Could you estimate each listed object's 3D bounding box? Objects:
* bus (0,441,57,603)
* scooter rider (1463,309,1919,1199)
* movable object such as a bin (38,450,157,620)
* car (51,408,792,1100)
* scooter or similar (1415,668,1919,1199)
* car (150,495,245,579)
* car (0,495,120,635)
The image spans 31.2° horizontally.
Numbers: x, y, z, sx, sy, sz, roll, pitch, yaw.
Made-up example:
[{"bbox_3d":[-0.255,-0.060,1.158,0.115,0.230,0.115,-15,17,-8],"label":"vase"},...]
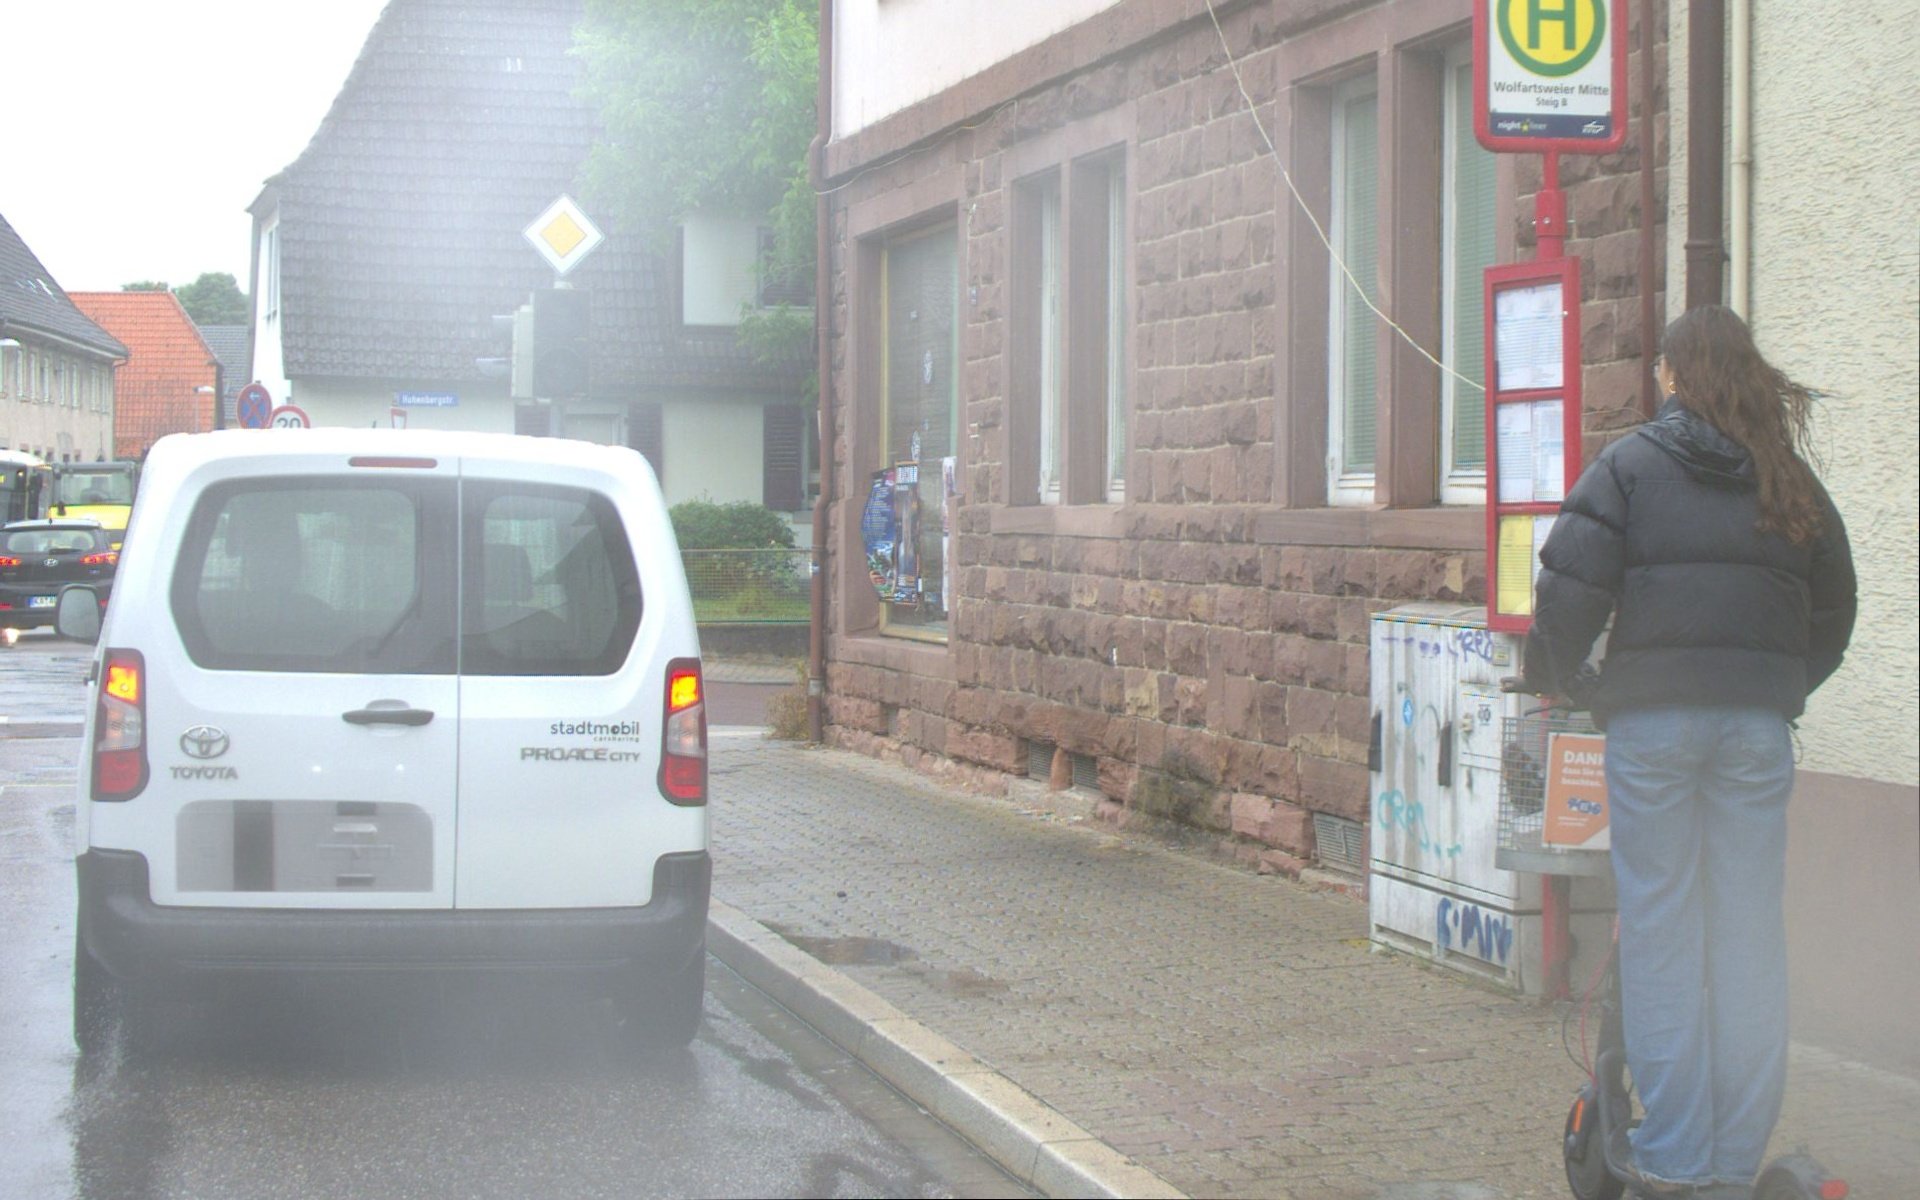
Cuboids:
[{"bbox_3d":[-20.359,-1.758,70.816,2.649,2.989,12.197,1,3,-11],"label":"bus"},{"bbox_3d":[1.443,0.318,6.780,0.730,1.727,0.518,1,0,-14],"label":"scooter rider"},{"bbox_3d":[-14.155,-1.082,56.560,1.726,2.644,3.975,2,1,-12],"label":"movable object such as a bin"},{"bbox_3d":[-1.861,0.373,10.943,1.894,1.787,3.815,2,1,-14],"label":"car"},{"bbox_3d":[1.443,0.733,6.661,0.620,1.123,1.402,1,2,-14],"label":"scooter or similar"},{"bbox_3d":[-18.401,-1.524,83.127,1.895,1.941,4.001,-1,1,-8],"label":"car"},{"bbox_3d":[-11.161,-0.465,41.789,1.809,1.591,3.757,2,1,-14],"label":"car"}]
